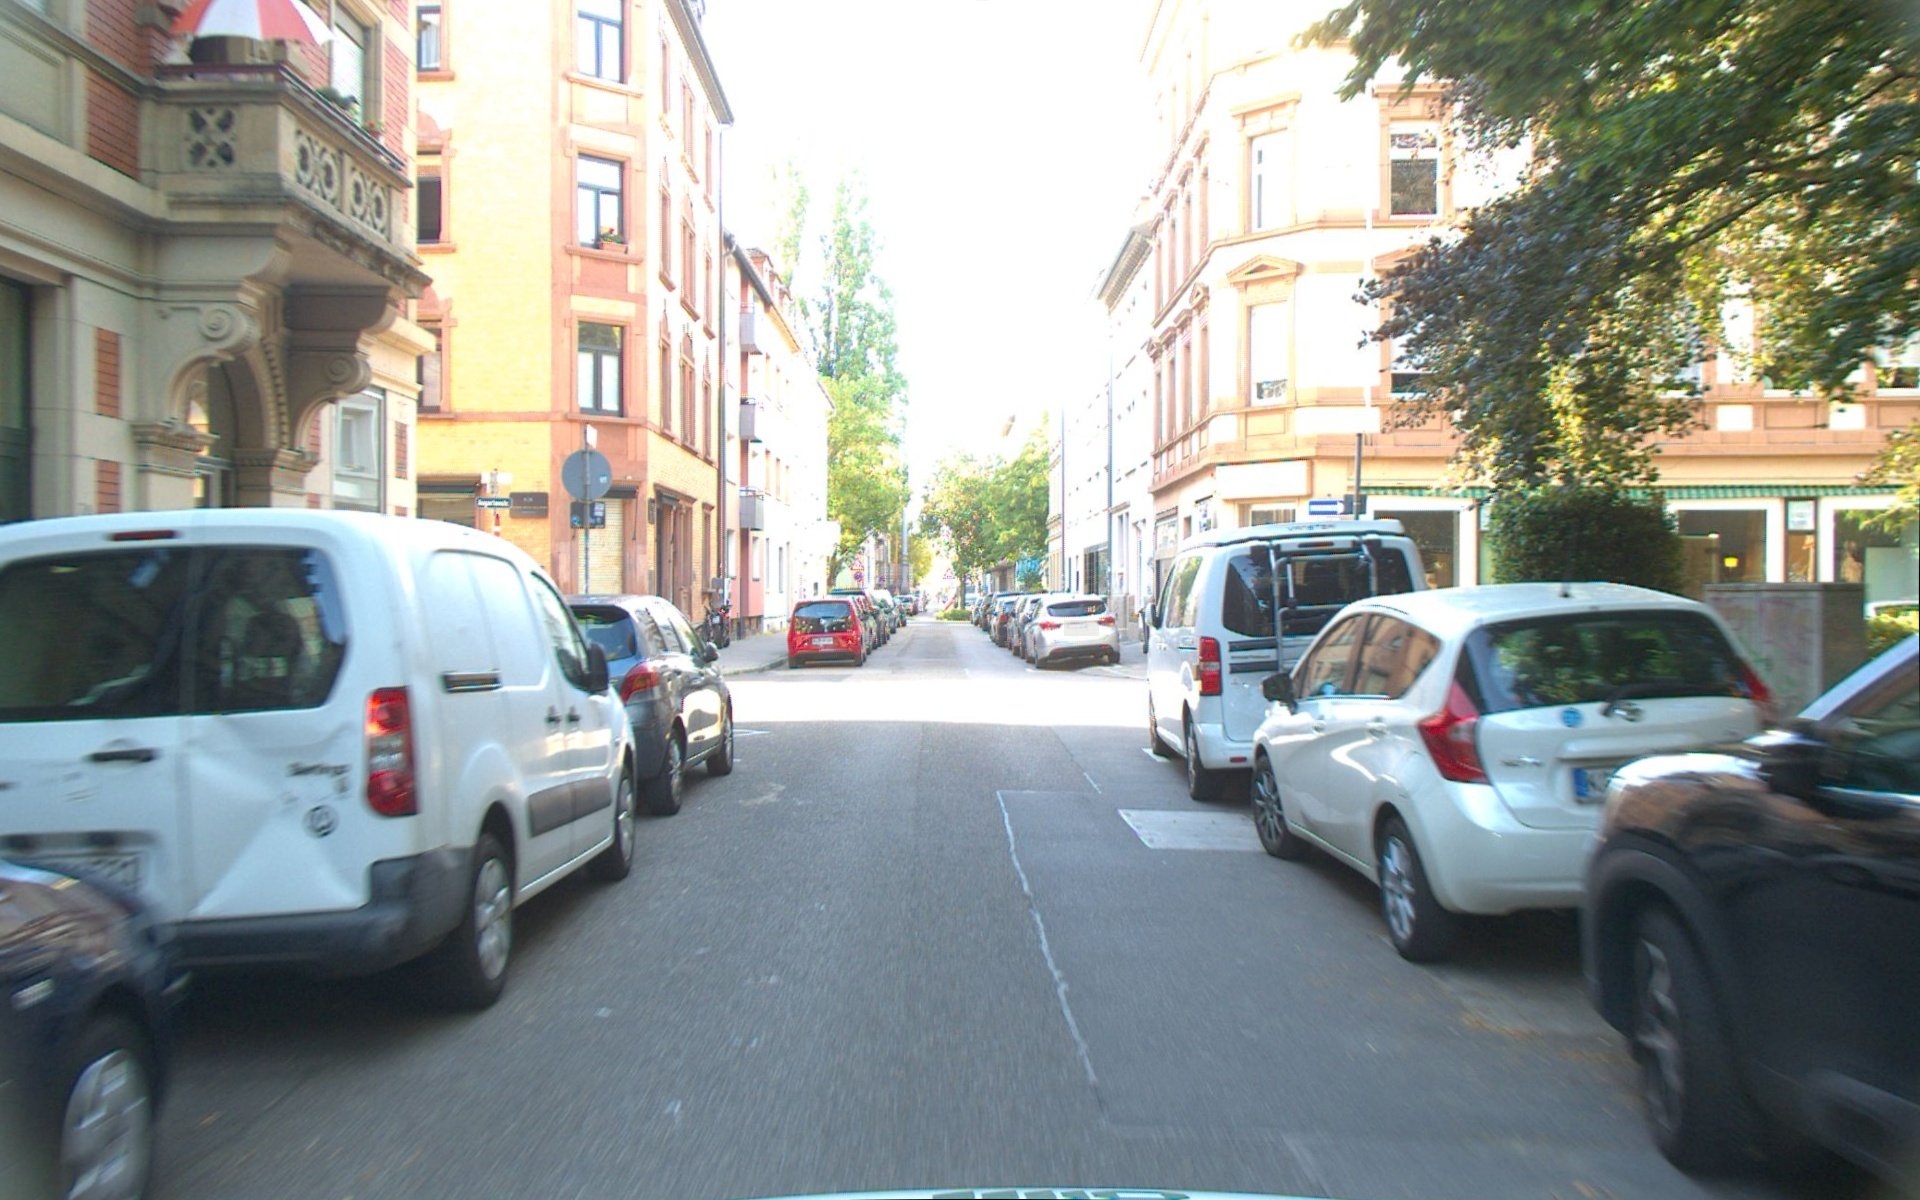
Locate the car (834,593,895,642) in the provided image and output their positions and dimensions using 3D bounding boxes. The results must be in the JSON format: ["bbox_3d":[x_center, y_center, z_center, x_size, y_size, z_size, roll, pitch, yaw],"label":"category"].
[{"bbox_3d":[-3.237,0.581,56.864,1.707,1.533,4.347,-2,0,1],"label":"car"}]

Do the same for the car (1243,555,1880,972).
[{"bbox_3d":[2.660,0.619,8.309,1.684,1.598,3.826,0,0,-2],"label":"car"}]

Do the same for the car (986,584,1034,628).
[{"bbox_3d":[2.028,0.231,67.919,1.642,1.655,4.249,-4,0,-1],"label":"car"}]

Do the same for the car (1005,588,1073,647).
[{"bbox_3d":[2.190,0.457,46.667,1.566,1.533,4.183,-2,0,-1],"label":"car"}]

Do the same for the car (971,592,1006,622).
[{"bbox_3d":[1.498,0.352,87.441,1.642,1.513,4.093,-2,0,-1],"label":"car"}]

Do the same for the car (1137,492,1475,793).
[{"bbox_3d":[2.669,0.277,13.924,1.875,2.033,4.792,-2,0,1],"label":"car"}]

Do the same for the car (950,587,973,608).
[{"bbox_3d":[0.079,-0.184,126.396,1.642,1.513,3.637,-2,0,-1],"label":"car"}]

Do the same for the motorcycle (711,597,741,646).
[{"bbox_3d":[-6.034,0.535,42.689,0.522,1.227,1.908,0,0,0],"label":"motorcycle"}]

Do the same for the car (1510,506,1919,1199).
[{"bbox_3d":[2.838,0.548,3.139,1.706,1.630,4.259,-5,0,-6],"label":"car"}]

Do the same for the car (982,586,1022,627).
[{"bbox_3d":[1.827,0.311,73.261,1.641,1.711,4.094,-2,-1,0],"label":"car"}]

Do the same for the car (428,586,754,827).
[{"bbox_3d":[-2.652,0.681,12.779,1.658,1.507,3.972,-2,0,-1],"label":"car"}]

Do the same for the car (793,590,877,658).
[{"bbox_3d":[-3.077,0.563,41.337,1.660,1.547,4.096,-2,0,1],"label":"car"}]

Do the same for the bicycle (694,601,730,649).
[{"bbox_3d":[-6.021,0.593,40.270,0.522,1.092,1.891,4,0,0],"label":"bicycle"}]

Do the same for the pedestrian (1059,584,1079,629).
[{"bbox_3d":[4.113,0.236,62.275,0.671,1.689,0.717,-1,0,-1],"label":"pedestrian"}]

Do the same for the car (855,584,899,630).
[{"bbox_3d":[-3.514,0.274,70.812,1.729,1.816,4.038,-2,0,-1],"label":"car"}]

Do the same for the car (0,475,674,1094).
[{"bbox_3d":[-2.565,0.556,7.350,1.794,1.843,4.571,-2,0,-1],"label":"car"}]

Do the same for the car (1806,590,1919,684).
[{"bbox_3d":[16.260,0.624,27.261,3.773,1.499,1.634,0,-2,6],"label":"car"}]

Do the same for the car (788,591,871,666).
[{"bbox_3d":[-2.840,0.596,36.576,1.595,1.507,3.600,-2,0,-1],"label":"car"}]

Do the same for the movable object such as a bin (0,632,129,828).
[{"bbox_3d":[-5.418,0.738,9.704,0.624,1.059,0.856,2,0,-1],"label":"movable object such as a bin"}]

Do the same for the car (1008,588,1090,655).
[{"bbox_3d":[2.191,0.494,41.588,1.709,1.533,4.020,-2,0,-1],"label":"car"}]

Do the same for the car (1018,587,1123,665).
[{"bbox_3d":[2.357,0.527,36.205,1.709,1.533,4.355,-2,0,-3],"label":"car"}]

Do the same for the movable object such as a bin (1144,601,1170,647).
[{"bbox_3d":[4.601,0.556,38.720,0.503,1.058,0.619,-2,0,0],"label":"movable object such as a bin"}]

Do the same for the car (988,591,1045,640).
[{"bbox_3d":[1.892,0.494,56.249,1.642,1.533,3.936,-2,0,-1],"label":"car"}]

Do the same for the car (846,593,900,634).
[{"bbox_3d":[-3.455,0.509,66.282,1.638,1.512,3.994,-2,0,4],"label":"car"}]

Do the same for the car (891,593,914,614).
[{"bbox_3d":[-4.334,0.238,124.816,1.642,1.513,4.093,-2,0,-1],"label":"car"}]

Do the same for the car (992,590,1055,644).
[{"bbox_3d":[1.935,0.497,51.376,1.642,1.533,3.936,-2,0,-1],"label":"car"}]

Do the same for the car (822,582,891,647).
[{"bbox_3d":[-3.165,0.412,51.533,1.707,1.842,4.673,-2,0,1],"label":"car"}]

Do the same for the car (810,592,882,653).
[{"bbox_3d":[-3.132,0.589,46.159,1.622,1.547,3.945,-2,0,1],"label":"car"}]

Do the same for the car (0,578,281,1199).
[{"bbox_3d":[-2.605,0.763,2.512,1.659,1.540,3.970,-2,0,-4],"label":"car"}]
